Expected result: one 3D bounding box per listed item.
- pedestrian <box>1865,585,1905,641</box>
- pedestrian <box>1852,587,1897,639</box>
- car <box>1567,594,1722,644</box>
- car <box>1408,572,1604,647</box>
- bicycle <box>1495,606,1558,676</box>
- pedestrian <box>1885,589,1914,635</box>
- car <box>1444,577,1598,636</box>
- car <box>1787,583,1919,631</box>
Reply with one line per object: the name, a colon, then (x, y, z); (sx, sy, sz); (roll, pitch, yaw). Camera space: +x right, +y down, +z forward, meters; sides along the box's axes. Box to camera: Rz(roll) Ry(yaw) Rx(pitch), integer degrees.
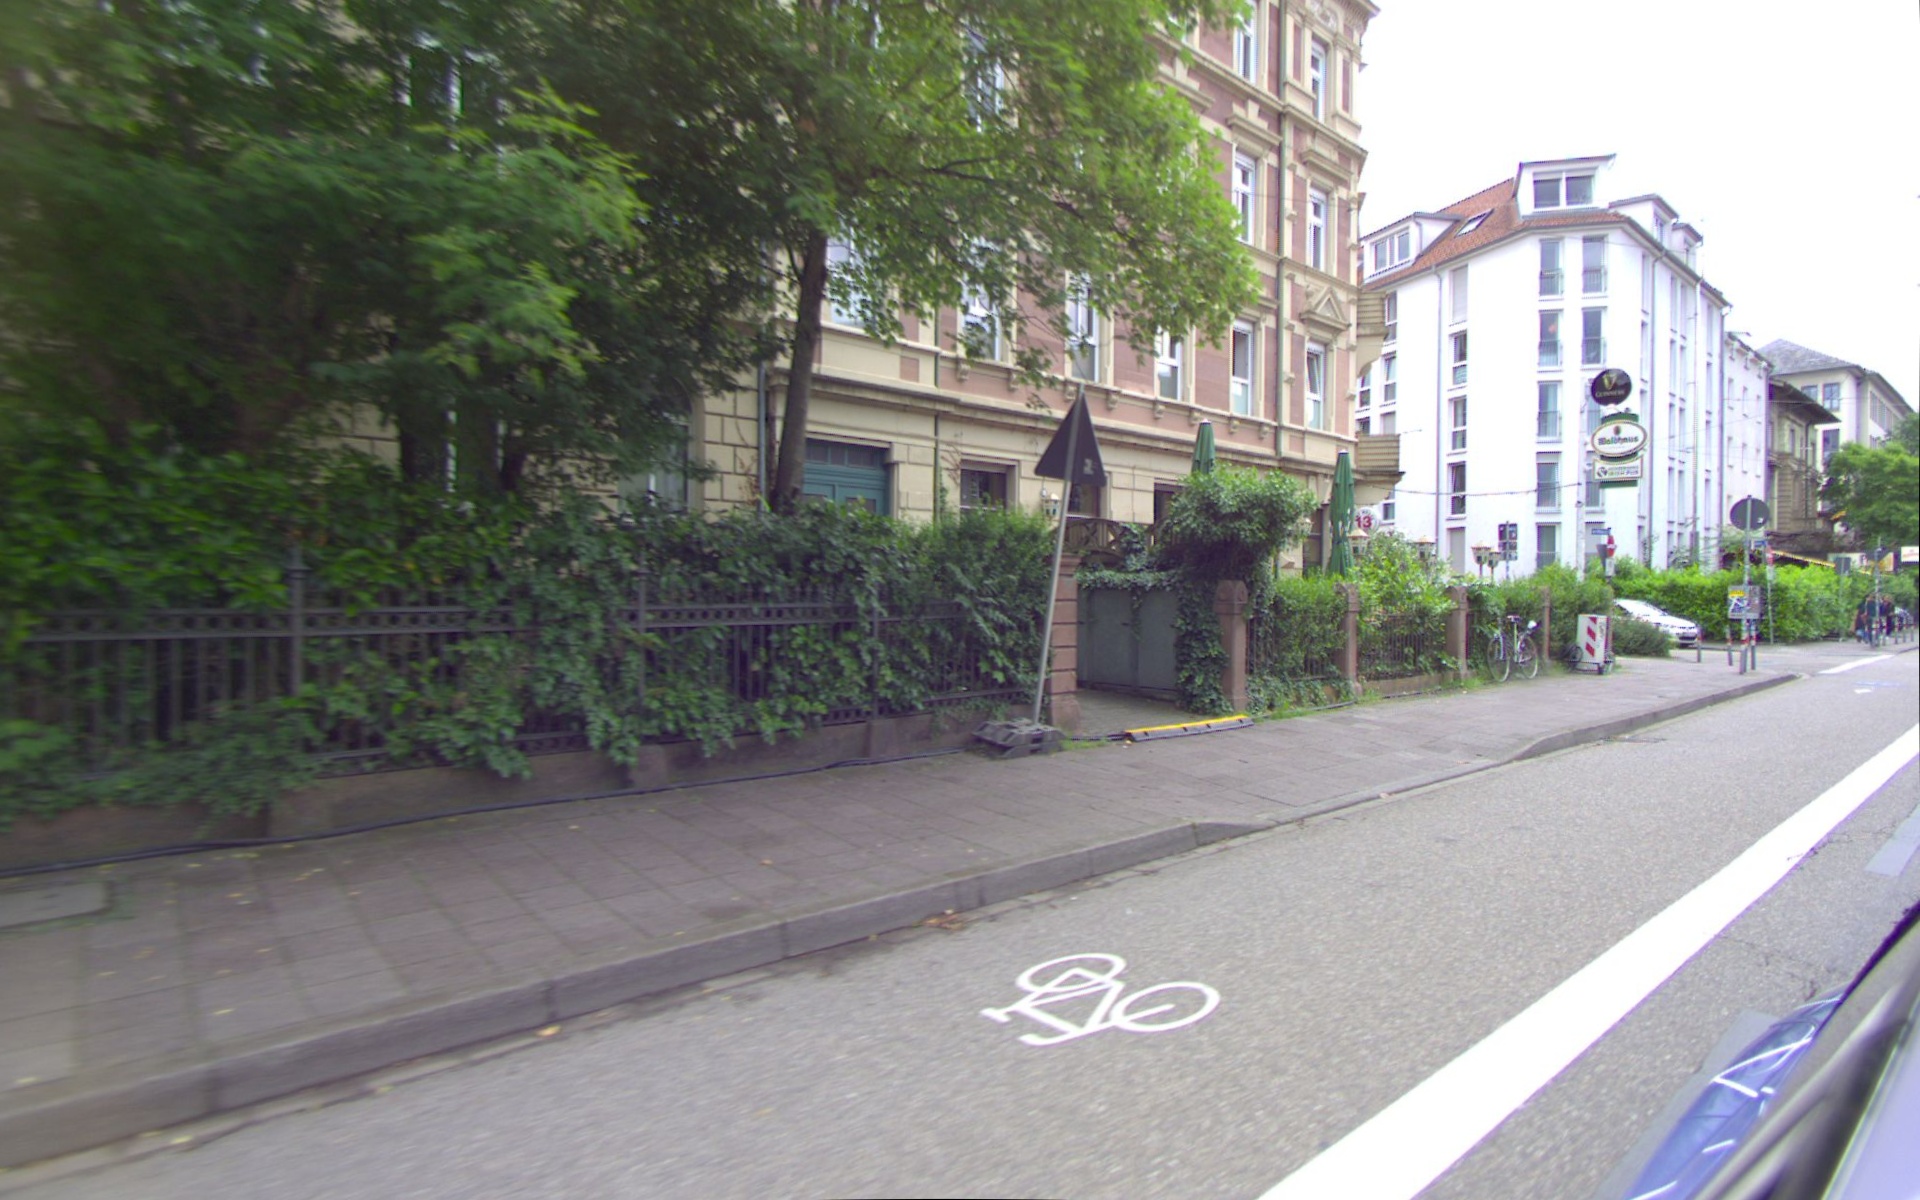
pedestrian: (28.195, 0.377, 30.860); (0.872, 1.677, 0.895); (0, 0, 41)
pedestrian: (29.994, 0.414, 33.201); (0.819, 1.656, 0.797); (0, 2, -25)
car: (21.335, 0.544, 31.726); (1.636, 1.449, 3.829); (1, 0, -18)
car: (14.845, 0.213, 27.531); (4.924, 1.901, 2.063); (0, 1, -23)
bicycle: (9.139, 0.641, 16.296); (1.816, 1.055, 0.302); (0, 0, -42)
pedestrian: (35.450, 0.440, 38.189); (0.943, 1.691, 0.624); (0, 3, -42)
car: (20.006, 0.198, 36.354); (1.935, 1.963, 4.755); (2, 0, -19)
car: (38.291, 0.259, 43.247); (1.790, 1.831, 4.291); (0, 2, -39)
